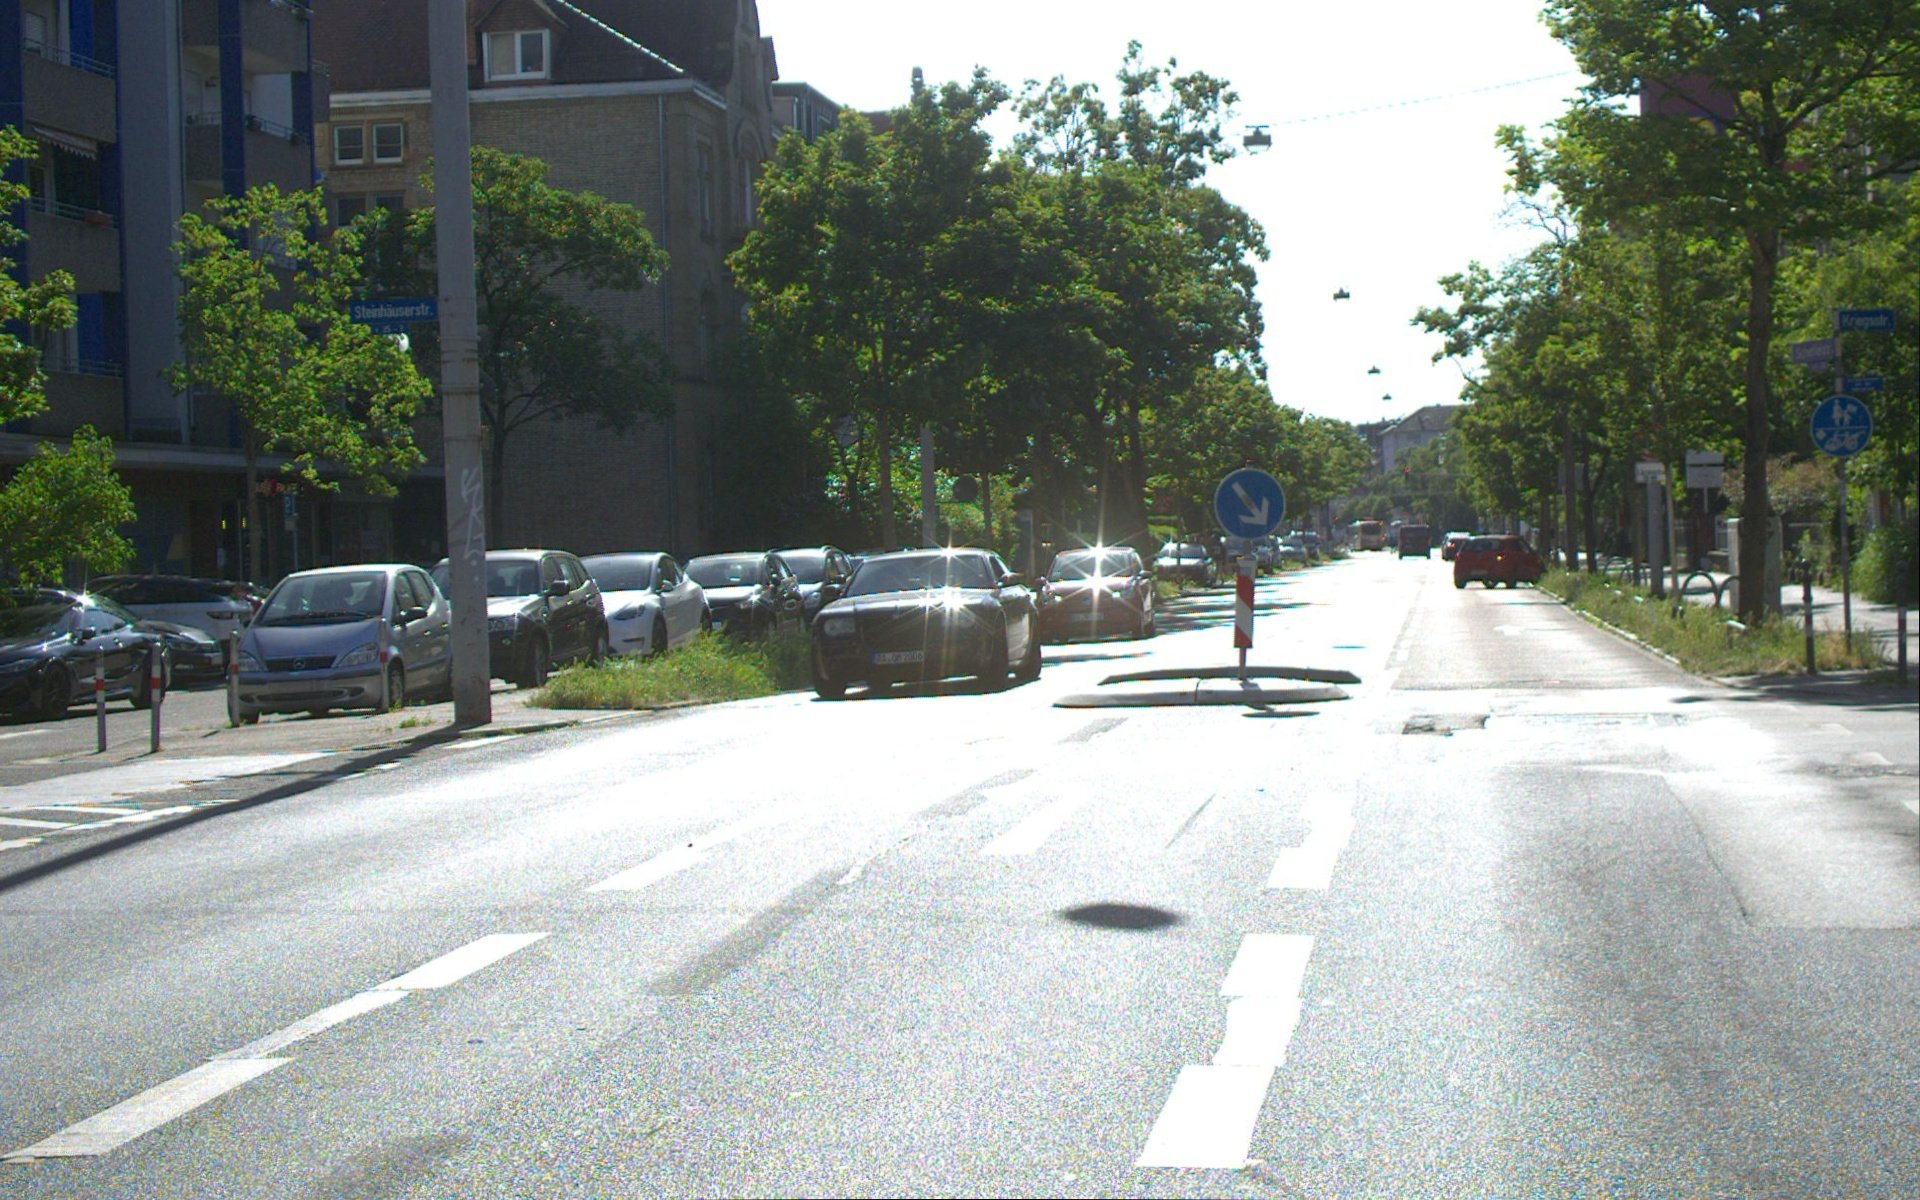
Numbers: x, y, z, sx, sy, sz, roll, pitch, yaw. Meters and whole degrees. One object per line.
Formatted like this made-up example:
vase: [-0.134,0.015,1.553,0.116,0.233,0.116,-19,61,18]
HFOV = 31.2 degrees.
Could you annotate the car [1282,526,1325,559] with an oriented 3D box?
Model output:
car: [18.885,-3.159,188.806,1.994,1.690,3.998,-2,1,10]

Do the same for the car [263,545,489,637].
car: [-11.324,-0.183,66.801,3.987,1.624,1.687,-2,1,5]

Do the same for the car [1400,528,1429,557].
car: [29.868,-3.774,225.964,1.759,1.777,3.999,-2,1,9]

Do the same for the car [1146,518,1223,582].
car: [7.462,-1.665,113.755,1.994,2.007,4.204,-2,1,10]

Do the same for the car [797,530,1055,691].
car: [-0.264,0.058,35.246,1.866,1.453,4.591,-2,1,9]

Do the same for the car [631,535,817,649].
car: [-3.610,-0.156,53.193,1.864,1.582,3.999,-3,1,10]

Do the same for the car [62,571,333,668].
car: [-12.500,0.309,56.481,3.987,1.420,1.687,-2,1,5]

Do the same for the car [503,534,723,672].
car: [-4.669,-0.003,46.966,1.889,1.656,4.529,-4,1,8]

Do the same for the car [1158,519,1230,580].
car: [8.168,-1.781,119.569,1.994,2.007,4.204,-2,1,10]

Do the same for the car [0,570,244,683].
car: [-12.942,0.392,51.446,3.987,1.546,1.770,-2,1,5]

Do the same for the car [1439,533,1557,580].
car: [15.190,-1.233,96.929,1.801,1.219,3.993,-1,1,33]

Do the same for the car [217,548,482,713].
car: [-6.205,0.273,35.296,1.720,1.513,3.531,-3,1,6]

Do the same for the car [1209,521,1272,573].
car: [11.482,-2.169,140.523,2.062,2.007,4.627,-2,1,10]

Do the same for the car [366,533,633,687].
car: [-5.373,0.072,40.708,1.869,1.622,4.503,-2,1,9]

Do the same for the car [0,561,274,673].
car: [-13.011,0.259,53.951,3.987,1.602,1.841,-2,1,5]

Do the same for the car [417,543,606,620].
car: [-10.256,-0.437,78.795,3.987,1.624,1.687,-2,1,5]

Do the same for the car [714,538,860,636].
car: [-2.947,-0.244,59.446,1.752,1.548,3.999,-2,1,8]

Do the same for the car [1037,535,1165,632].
car: [2.270,-0.280,54.580,1.652,1.423,3.506,-2,1,8]

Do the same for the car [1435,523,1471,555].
car: [28.155,-3.476,196.177,1.952,1.702,3.999,-2,1,9]

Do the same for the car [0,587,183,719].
car: [-11.123,0.620,41.108,1.892,1.393,4.528,-2,1,10]
